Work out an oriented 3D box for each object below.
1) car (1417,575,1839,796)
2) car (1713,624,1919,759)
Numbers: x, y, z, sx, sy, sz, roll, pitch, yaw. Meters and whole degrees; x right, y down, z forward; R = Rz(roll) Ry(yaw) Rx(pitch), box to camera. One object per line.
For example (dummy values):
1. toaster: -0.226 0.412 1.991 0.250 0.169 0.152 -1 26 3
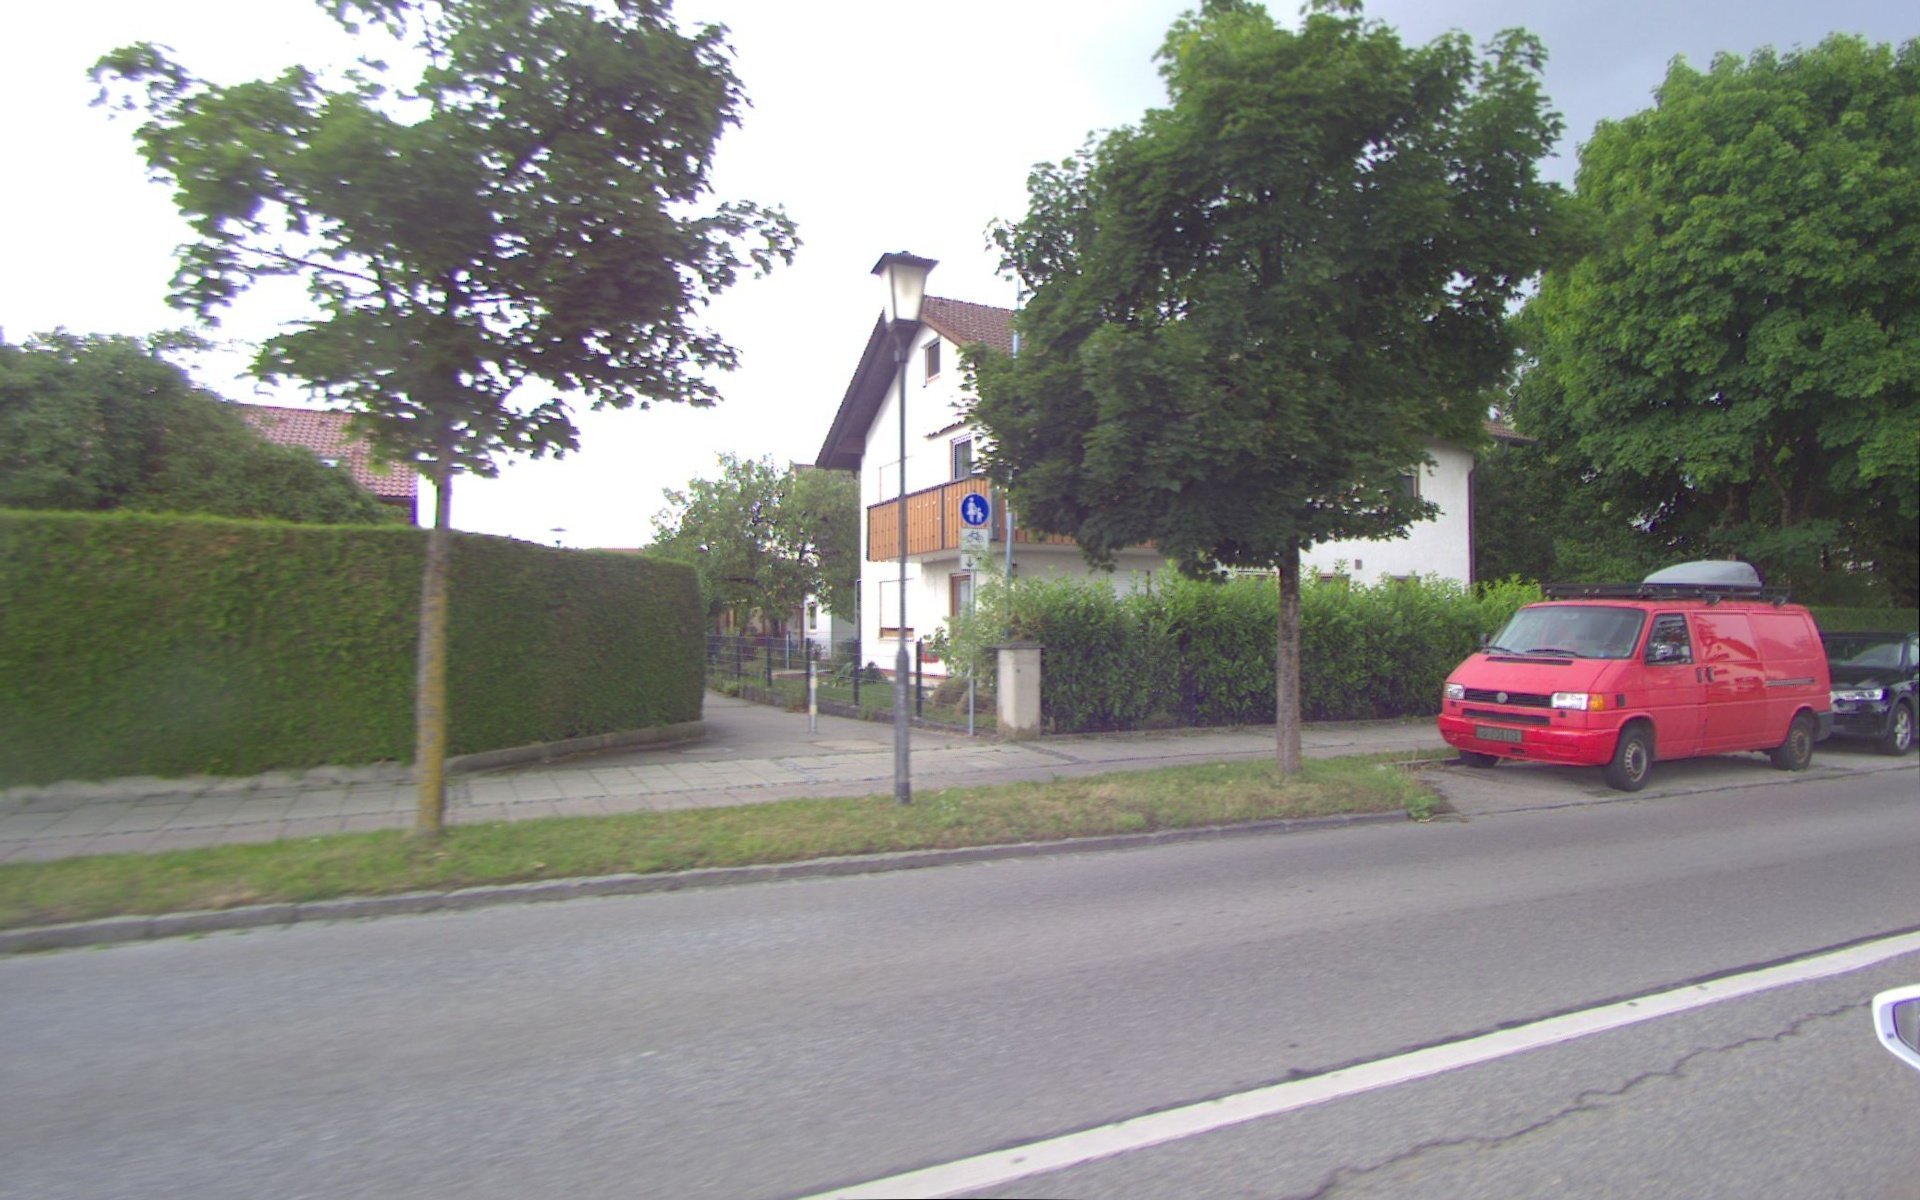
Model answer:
1. car: 7.614 0.816 11.329 4.983 2.057 1.822 1 1 -28
2. car: 12.687 1.165 14.169 4.186 1.619 1.764 1 0 -29
